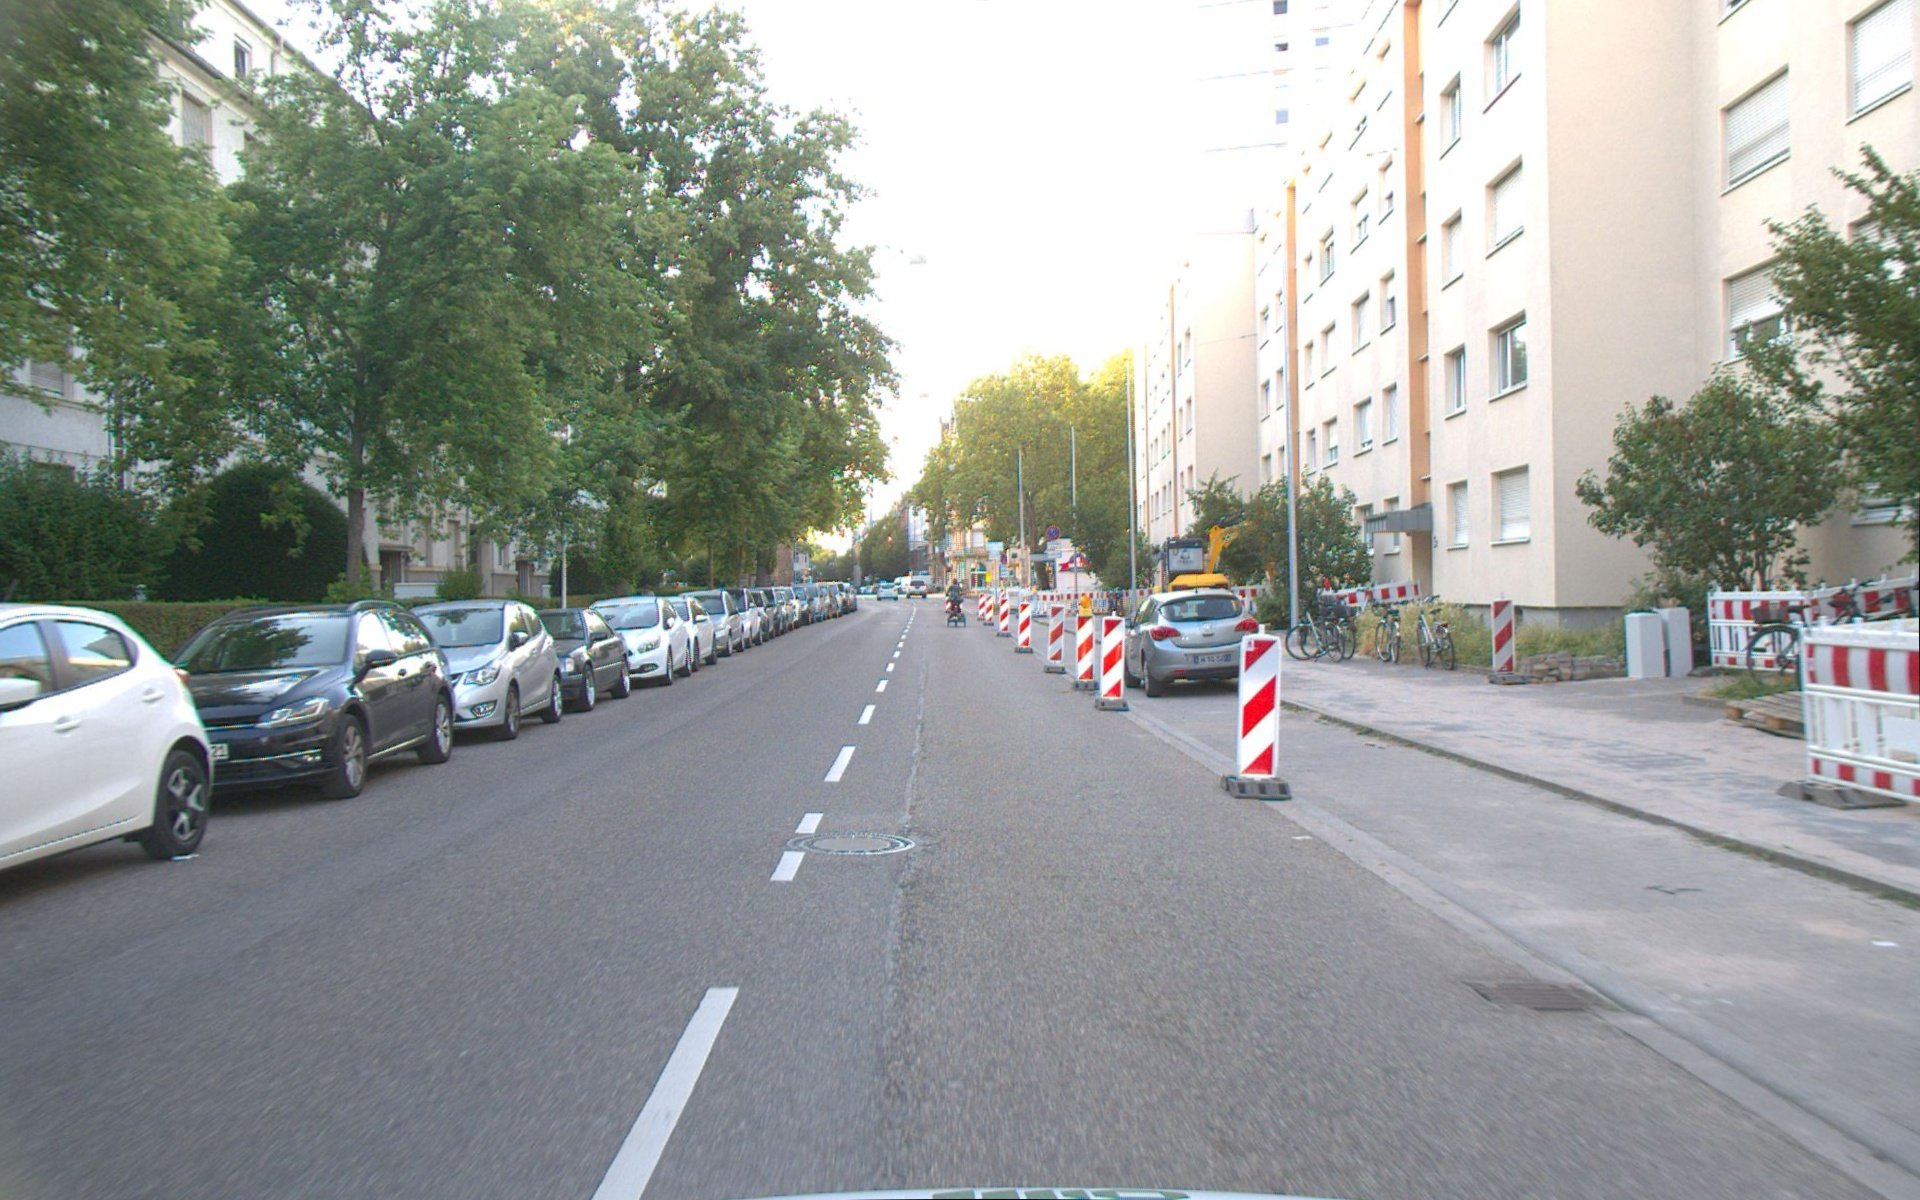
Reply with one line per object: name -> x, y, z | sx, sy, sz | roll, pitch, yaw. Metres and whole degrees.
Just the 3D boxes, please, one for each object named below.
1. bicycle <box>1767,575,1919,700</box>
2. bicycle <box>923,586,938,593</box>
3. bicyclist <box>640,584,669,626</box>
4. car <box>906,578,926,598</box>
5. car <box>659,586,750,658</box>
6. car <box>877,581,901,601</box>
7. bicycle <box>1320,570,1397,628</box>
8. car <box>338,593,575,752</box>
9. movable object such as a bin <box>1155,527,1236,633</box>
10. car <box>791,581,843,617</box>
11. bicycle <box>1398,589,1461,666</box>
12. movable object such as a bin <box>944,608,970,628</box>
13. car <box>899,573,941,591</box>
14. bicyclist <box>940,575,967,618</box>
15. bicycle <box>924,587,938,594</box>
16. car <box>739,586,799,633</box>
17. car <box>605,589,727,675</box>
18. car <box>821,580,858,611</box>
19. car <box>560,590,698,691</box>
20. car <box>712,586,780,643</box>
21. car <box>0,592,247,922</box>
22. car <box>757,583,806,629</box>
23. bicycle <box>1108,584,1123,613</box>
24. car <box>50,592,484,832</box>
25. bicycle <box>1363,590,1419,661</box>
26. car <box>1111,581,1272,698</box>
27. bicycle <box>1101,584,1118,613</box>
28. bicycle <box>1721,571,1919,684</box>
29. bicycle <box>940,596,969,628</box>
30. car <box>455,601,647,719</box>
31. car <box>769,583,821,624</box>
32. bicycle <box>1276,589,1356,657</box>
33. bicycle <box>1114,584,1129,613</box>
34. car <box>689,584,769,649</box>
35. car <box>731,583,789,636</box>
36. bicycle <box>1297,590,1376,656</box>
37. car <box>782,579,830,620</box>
bicycle -> 8.802, 0.334, 15.851 | 1.775, 1.040, 0.558 | -6, 0, 0
bicycle -> -3.858, -1.370, 216.509 | 1.876, 0.985, 0.545 | -1, 0, -3
bicyclist -> -10.424, 0.156, 56.456 | 0.792, 1.428, 0.973 | 0, 0, -2
car -> -4.306, -1.131, 160.545 | 1.829, 1.846, 3.998 | -2, 0, -3
car -> -6.017, 0.485, 39.313 | 1.558, 1.531, 3.798 | -4, 1, -2
car -> -6.166, -0.800, 143.509 | 1.828, 1.613, 4.000 | -2, 0, 0
bicycle -> 8.682, -0.023, 36.079 | 1.562, 1.243, 0.484 | -1, 0, -8
car -> -5.527, 0.723, 18.598 | 1.641, 1.485, 3.703 | -4, 0, -4
movable object such as a bin -> 6.322, -0.538, 44.584 | 1.893, 2.740, 2.893 | -1, 0, 3
car -> -6.520, -0.063, 75.831 | 1.696, 1.523, 4.272 | -3, 1, 3
bicycle -> 7.614, 0.427, 26.867 | 0.544, 1.192, 1.817 | -1, 0, 1
movable object such as a bin -> -0.110, 0.698, 63.535 | 0.921, 0.701, 0.992 | -4, 0, -4
car -> -5.396, -2.480, 222.720 | 5.780, 2.328, 2.038 | -1, 1, -45
bicyclist -> -0.265, -0.141, 65.231 | 0.921, 1.609, 1.145 | -3, 0, -4
bicycle -> -3.825, -1.251, 216.529 | 1.876, 0.985, 0.545 | -1, 0, -3
car -> -6.524, 0.299, 56.804 | 1.558, 1.428, 4.180 | -4, 1, -1
car -> -5.796, 0.583, 33.116 | 1.658, 1.485, 4.482 | -4, 1, -2
car -> -6.996, -0.268, 96.376 | 1.914, 1.645, 4.604 | -3, 1, -2
car -> -5.617, 0.634, 28.492 | 1.659, 1.485, 4.143 | -4, 1, -3
car -> -6.218, 0.394, 48.391 | 1.559, 1.491, 4.100 | -4, 1, -3
car -> -5.307, 0.780, 8.209 | 1.717, 1.505, 3.944 | -4, 1, 0
car -> -6.686, 0.192, 62.209 | 1.559, 1.565, 4.204 | -4, 1, -3
bicycle -> 6.711, -0.063, 71.441 | 0.390, 1.243, 1.910 | -1, 0, -3
car -> -5.408, 0.753, 13.656 | 1.718, 1.505, 4.676 | -4, 1, -3
bicycle -> 7.523, 0.419, 28.913 | 0.544, 1.192, 1.817 | -1, 0, 1
car -> 3.478, 0.537, 25.635 | 1.740, 1.516, 4.573 | -5, 0, 0
bicycle -> 6.444, -0.065, 71.343 | 0.442, 1.243, 1.910 | -1, 0, -3
bicycle -> 9.130, 0.291, 17.595 | 1.716, 1.003, 0.558 | -6, -1, 8
bicycle -> -0.227, 0.456, 65.203 | 0.920, 1.192, 2.357 | -3, 0, -3
car -> -5.641, 0.766, 23.363 | 1.641, 1.355, 4.578 | -4, 1, -2
car -> -6.624, 0.118, 66.606 | 1.673, 1.477, 3.842 | -4, 1, -1
bicycle -> 6.524, 0.405, 30.413 | 0.548, 1.192, 1.806 | -1, 0, -21
bicycle -> 6.958, -0.061, 71.380 | 0.390, 1.243, 1.825 | -1, 0, -3
car -> -6.079, 0.414, 43.809 | 1.557, 1.555, 2.922 | -4, 0, 1
car -> -6.341, 0.283, 52.661 | 1.493, 1.555, 3.163 | -4, 0, -3
bicycle -> 7.022, 0.407, 30.929 | 0.616, 1.192, 1.808 | -1, 0, -17
car -> -6.578, -0.038, 71.024 | 1.673, 1.628, 4.116 | -4, 1, -1
